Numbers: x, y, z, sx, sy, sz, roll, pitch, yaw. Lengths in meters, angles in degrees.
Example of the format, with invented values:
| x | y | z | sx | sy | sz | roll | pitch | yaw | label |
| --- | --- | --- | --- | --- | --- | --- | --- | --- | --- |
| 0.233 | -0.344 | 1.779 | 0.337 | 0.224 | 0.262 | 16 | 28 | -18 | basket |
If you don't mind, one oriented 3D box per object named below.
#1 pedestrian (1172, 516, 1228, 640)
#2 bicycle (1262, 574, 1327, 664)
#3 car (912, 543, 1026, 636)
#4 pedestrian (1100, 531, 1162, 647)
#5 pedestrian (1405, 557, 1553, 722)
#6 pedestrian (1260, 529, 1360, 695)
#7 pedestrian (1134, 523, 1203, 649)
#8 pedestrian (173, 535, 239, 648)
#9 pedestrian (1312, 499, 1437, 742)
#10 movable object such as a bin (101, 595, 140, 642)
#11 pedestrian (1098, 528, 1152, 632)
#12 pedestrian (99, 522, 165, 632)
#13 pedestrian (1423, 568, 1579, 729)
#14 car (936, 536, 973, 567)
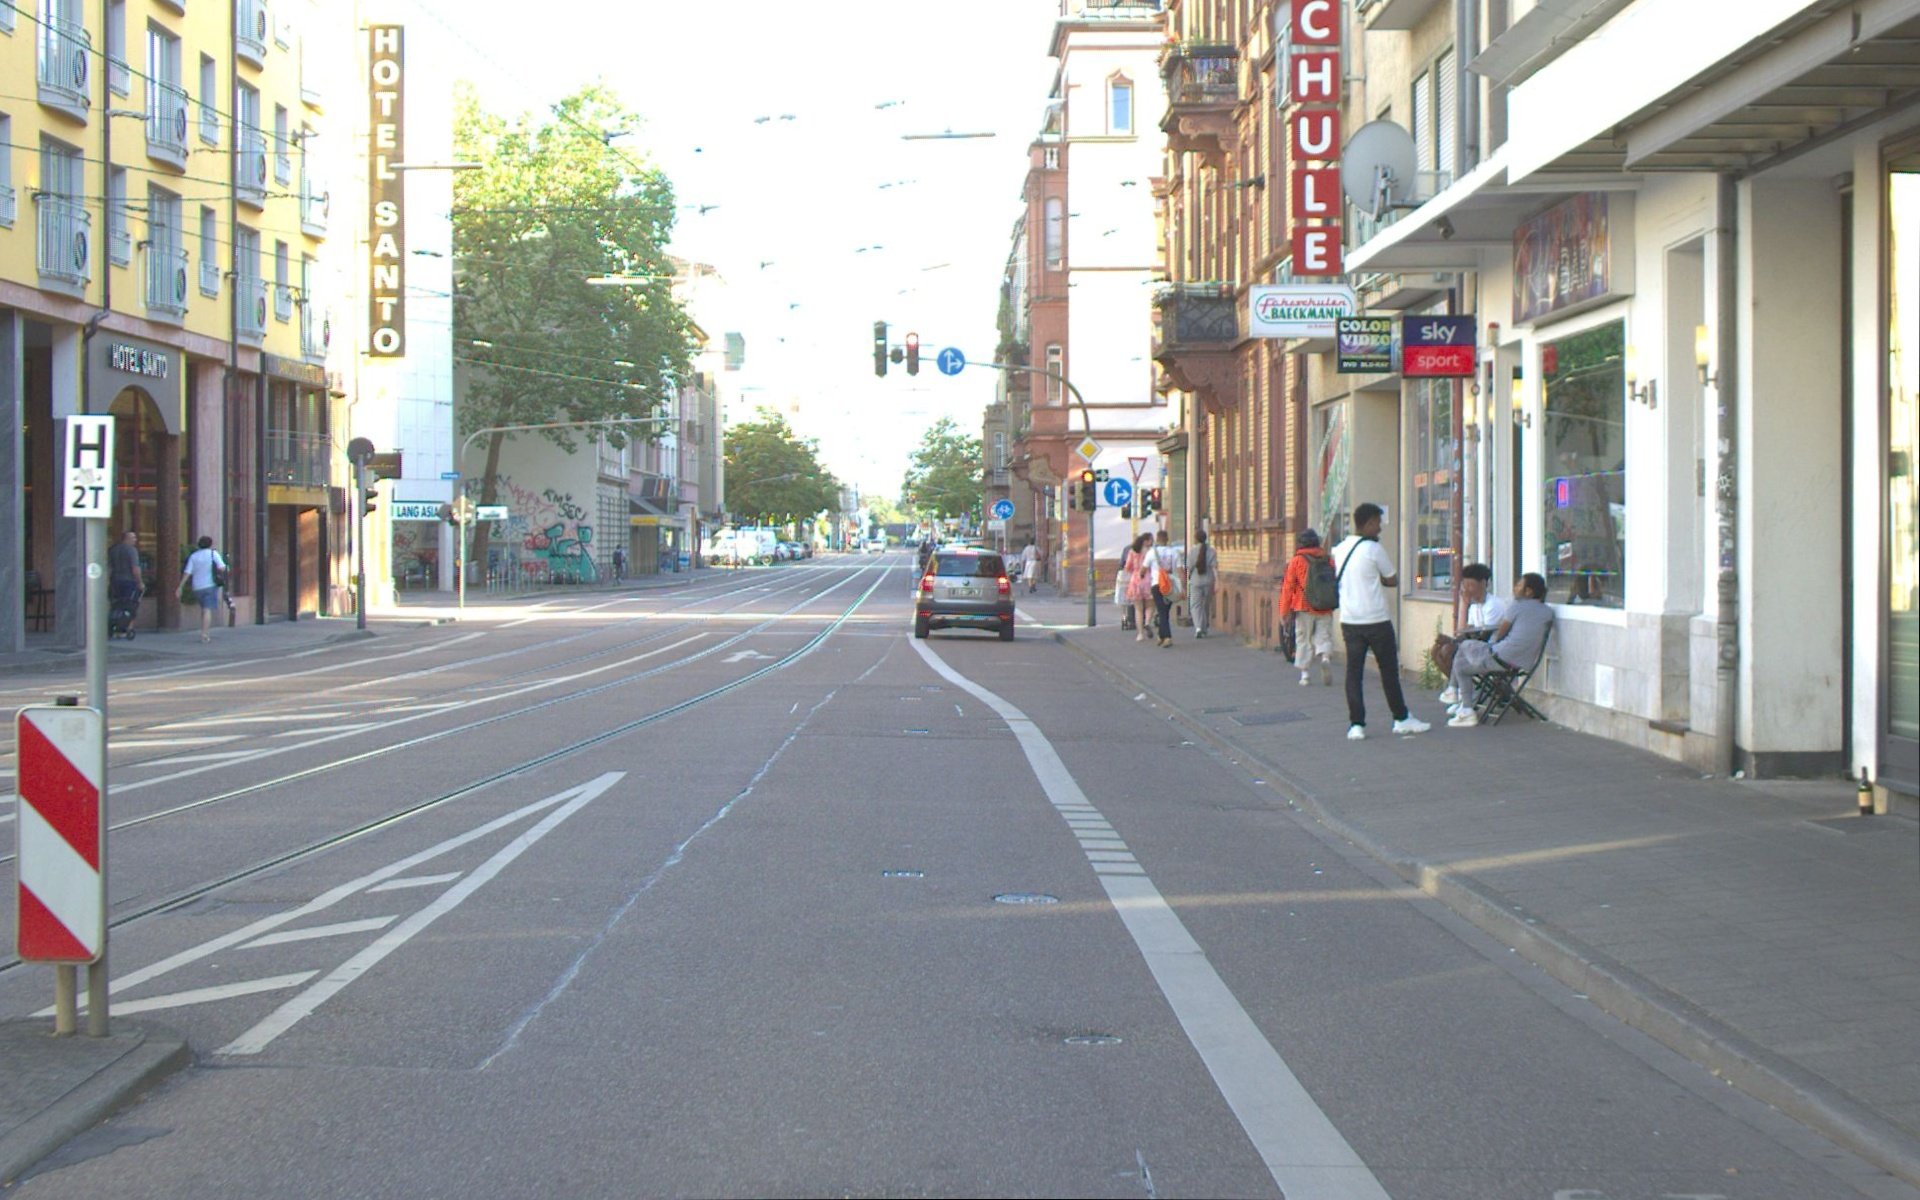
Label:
| x | y | z | sx | sy | sz | roll | pitch | yaw | label |
| --- | --- | --- | --- | --- | --- | --- | --- | --- | --- |
| 3.803 | -0.351 | 54.519 | 0.690 | 1.902 | 0.670 | -4 | 2 | -2 | pedestrian |
| 4.229 | 0.227 | 43.597 | 0.555 | 1.057 | 2.311 | -2 | 1 | 0 | bicycle |
| 0.131 | -0.220 | 62.691 | 1.993 | 1.612 | 4.000 | 0 | 1 | -1 | car |
| 2.755 | -0.178 | 55.427 | 0.805 | 1.793 | 0.762 | -4 | 2 | -2 | pedestrian |
| 4.242 | 0.324 | 28.114 | 0.828 | 1.251 | 0.707 | -7 | 2 | -35 | pedestrian |
| 3.637 | 0.116 | 35.760 | 0.798 | 1.622 | 0.826 | -6 | 2 | 0 | pedestrian |
| 3.105 | -0.218 | 51.322 | 0.805 | 1.793 | 1.092 | -4 | 2 | -2 | pedestrian |
| -12.607 | -0.144 | 57.511 | 0.751 | 1.812 | 1.046 | 4 | 1 | -1 | pedestrian |
| 3.241 | 0.151 | 26.857 | 0.705 | 1.806 | 0.679 | -5 | 2 | 15 | pedestrian |
| -13.805 | 0.298 | 56.540 | 0.383 | 0.714 | 0.841 | 5 | 2 | 1 | movable object such as a bin |
| 2.960 | -0.367 | 61.733 | 0.805 | 1.793 | 0.761 | -4 | 2 | 0 | pedestrian |
| -13.806 | -0.392 | 57.353 | 0.797 | 1.765 | 0.749 | 4 | 1 | -1 | pedestrian |
| 4.241 | 0.377 | 27.015 | 0.704 | 1.170 | 1.016 | -6 | 2 | -19 | pedestrian |
| -0.268 | -2.625 | 185.460 | 1.950 | 1.678 | 4.000 | 0 | 1 | 1 | car |
